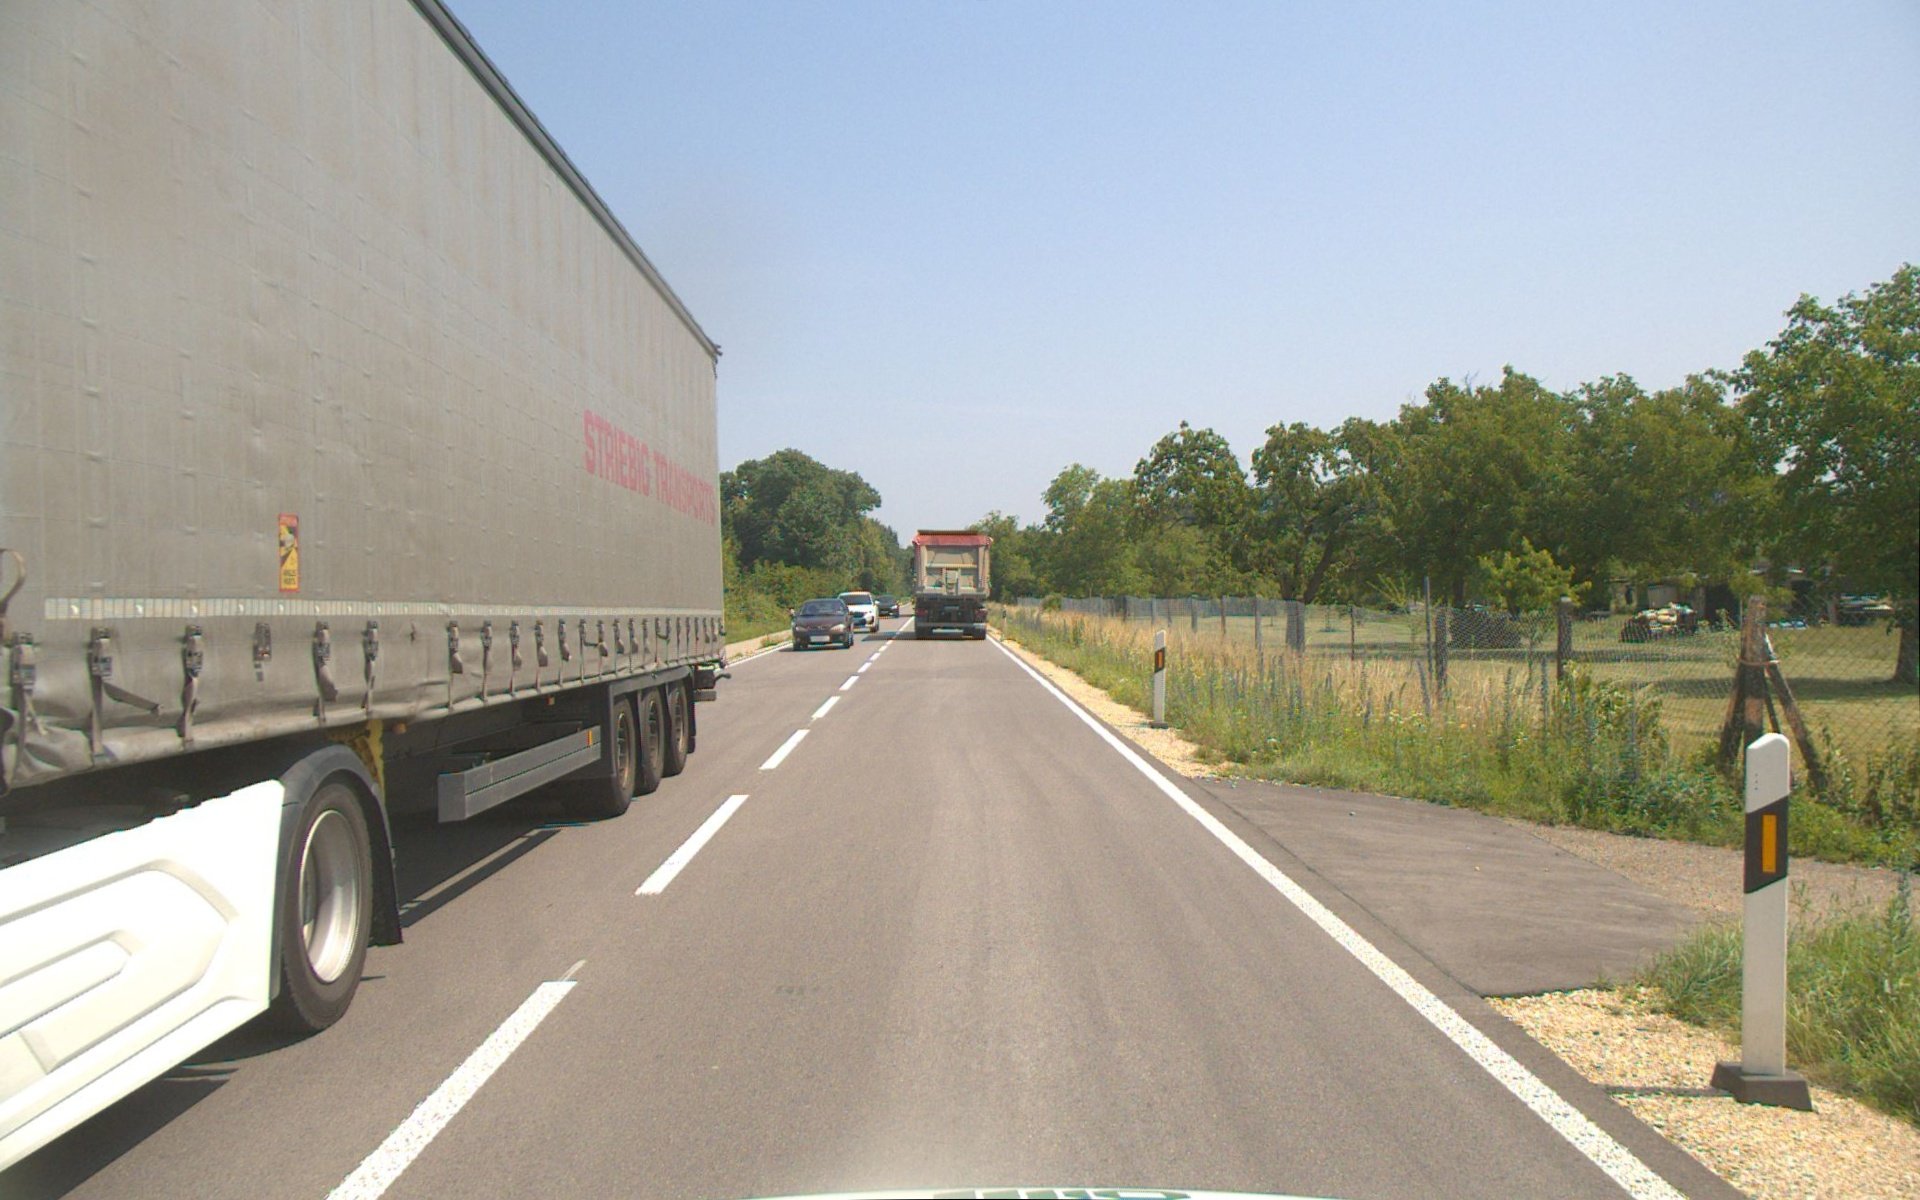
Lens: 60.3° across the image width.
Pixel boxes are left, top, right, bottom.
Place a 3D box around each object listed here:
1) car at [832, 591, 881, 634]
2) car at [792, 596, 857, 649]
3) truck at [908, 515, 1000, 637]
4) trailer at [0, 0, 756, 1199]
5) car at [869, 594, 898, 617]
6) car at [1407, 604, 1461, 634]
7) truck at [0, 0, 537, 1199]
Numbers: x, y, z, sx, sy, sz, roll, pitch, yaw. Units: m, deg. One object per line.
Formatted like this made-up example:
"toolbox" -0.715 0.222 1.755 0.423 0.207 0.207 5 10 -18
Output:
"car" -4.207 0.484 67.731 1.723 1.634 4.480 -3 0 -1
"car" -3.950 0.628 48.657 1.660 1.430 4.044 -3 0 -2
"truck" -0.307 -0.774 60.385 2.948 3.942 12.206 1 0 -1
"trailer" -3.487 -0.663 10.631 2.662 4.340 13.808 -2 0 -1
"car" -4.953 0.328 107.233 1.723 1.381 4.045 -3 0 -1
"car" 25.658 1.028 89.578 1.563 1.512 3.421 -1 1 -9
"truck" -3.402 -0.639 4.233 2.662 4.340 7.388 -2 0 -1
